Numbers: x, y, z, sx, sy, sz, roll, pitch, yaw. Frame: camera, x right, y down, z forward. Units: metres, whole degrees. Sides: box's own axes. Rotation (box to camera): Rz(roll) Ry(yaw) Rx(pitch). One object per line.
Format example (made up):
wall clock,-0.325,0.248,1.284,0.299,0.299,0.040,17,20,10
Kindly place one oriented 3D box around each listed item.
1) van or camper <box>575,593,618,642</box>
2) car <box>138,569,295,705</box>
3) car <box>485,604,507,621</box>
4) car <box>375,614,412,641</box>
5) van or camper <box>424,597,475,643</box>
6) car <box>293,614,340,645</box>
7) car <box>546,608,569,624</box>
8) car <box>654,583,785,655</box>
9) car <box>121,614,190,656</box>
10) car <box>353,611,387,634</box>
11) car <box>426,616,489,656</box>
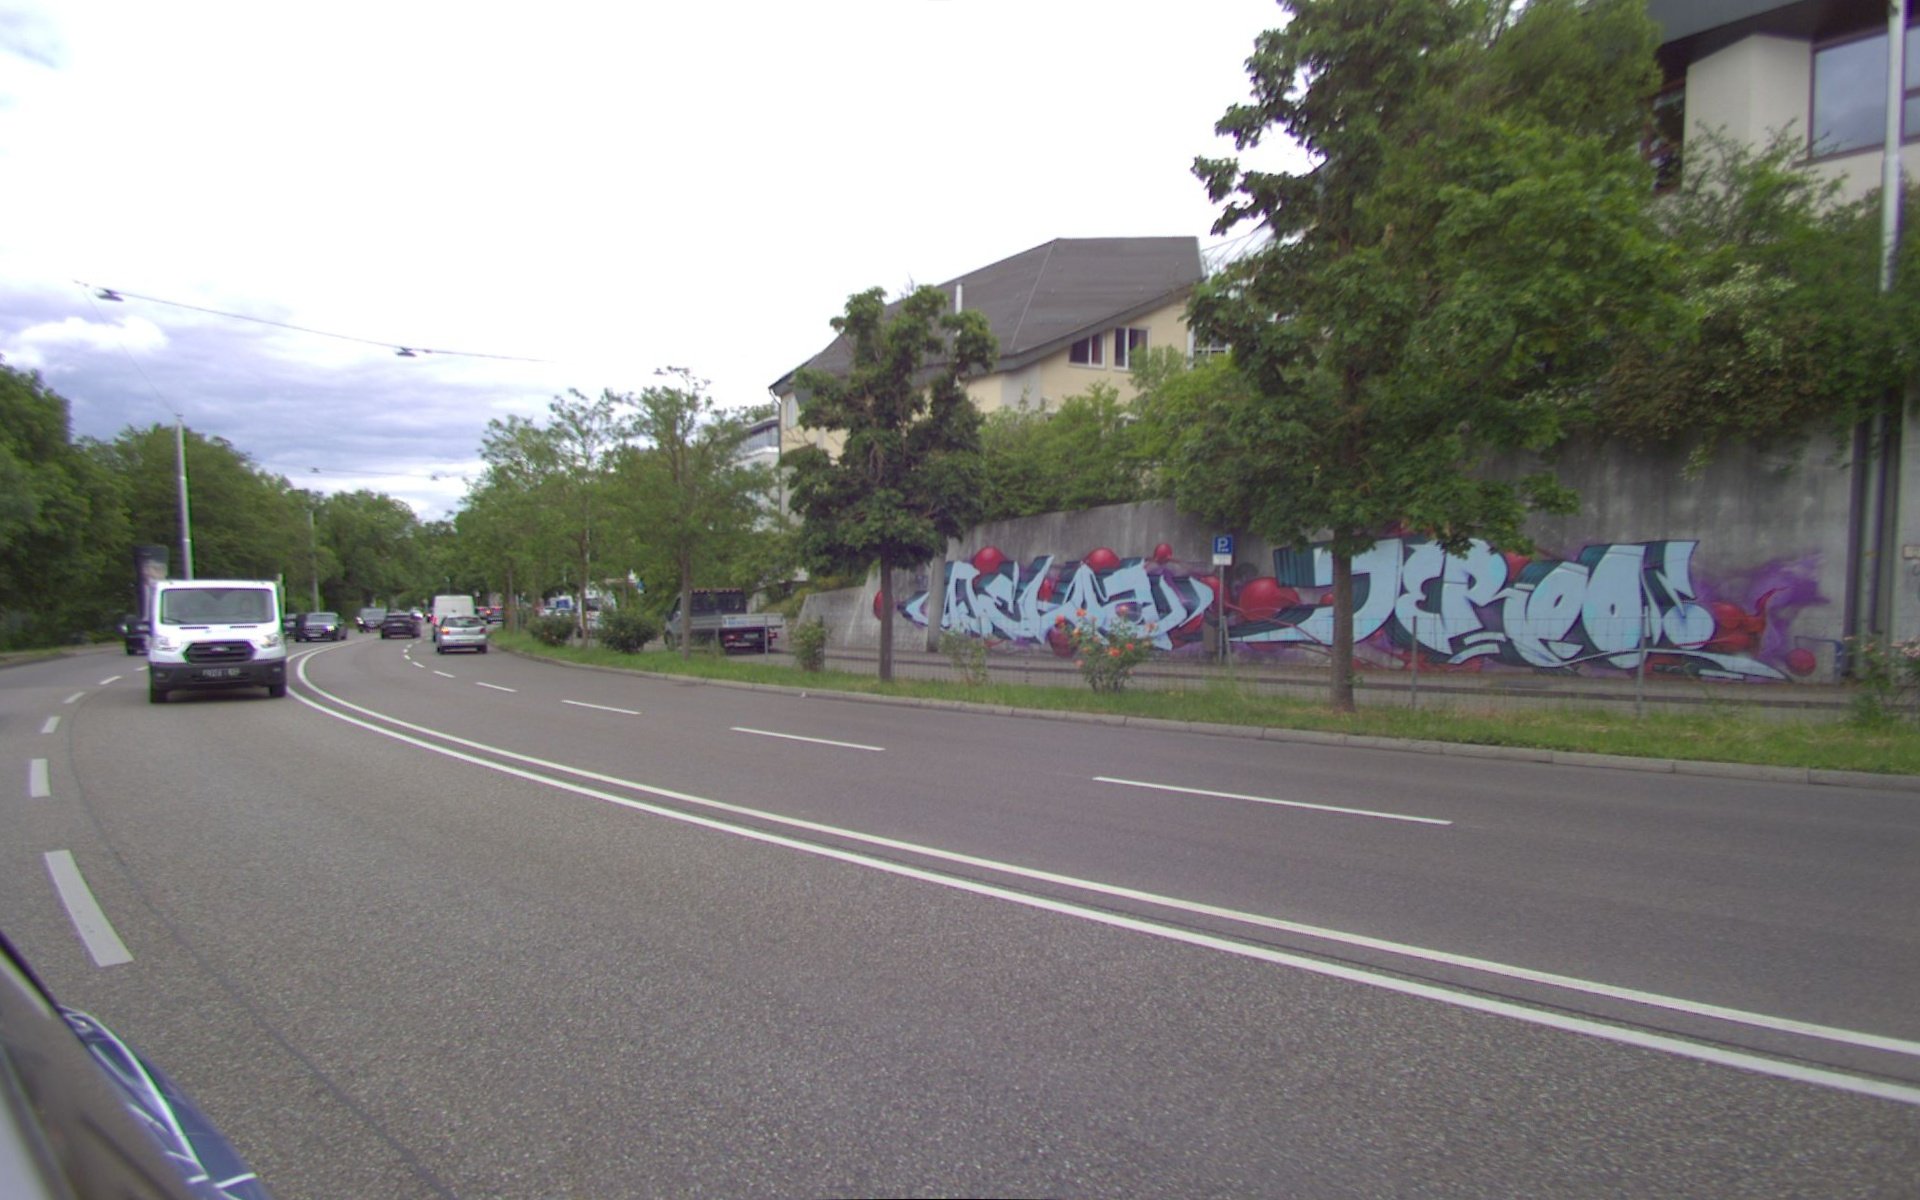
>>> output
van or camper,-19.878,0.923,55.196,1.965,2.491,5.728,0,0,-22
car,-14.378,0.660,19.387,1.969,2.190,6.278,-1,-1,-40
car,-43.817,1.207,95.646,1.760,1.587,4.482,0,-1,-23
car,-31.692,1.527,56.713,1.711,1.425,4.443,0,-1,-28
van or camper,-26.687,1.027,52.791,1.981,2.278,5.979,0,-1,-31
car,-33.145,1.491,52.229,1.708,1.422,4.013,-2,1,-28
car,-37.477,1.456,94.212,1.649,1.439,4.432,2,-1,-25
car,-8.591,0.637,35.612,2.237,2.290,6.342,0,0,-36
car,-29.911,1.263,37.722,1.706,1.421,4.010,-2,0,-34
car,-42.080,1.588,72.247,1.701,1.489,4.013,-2,1,-26
car,-19.156,1.328,38.491,1.679,1.419,3.819,0,-1,-33
